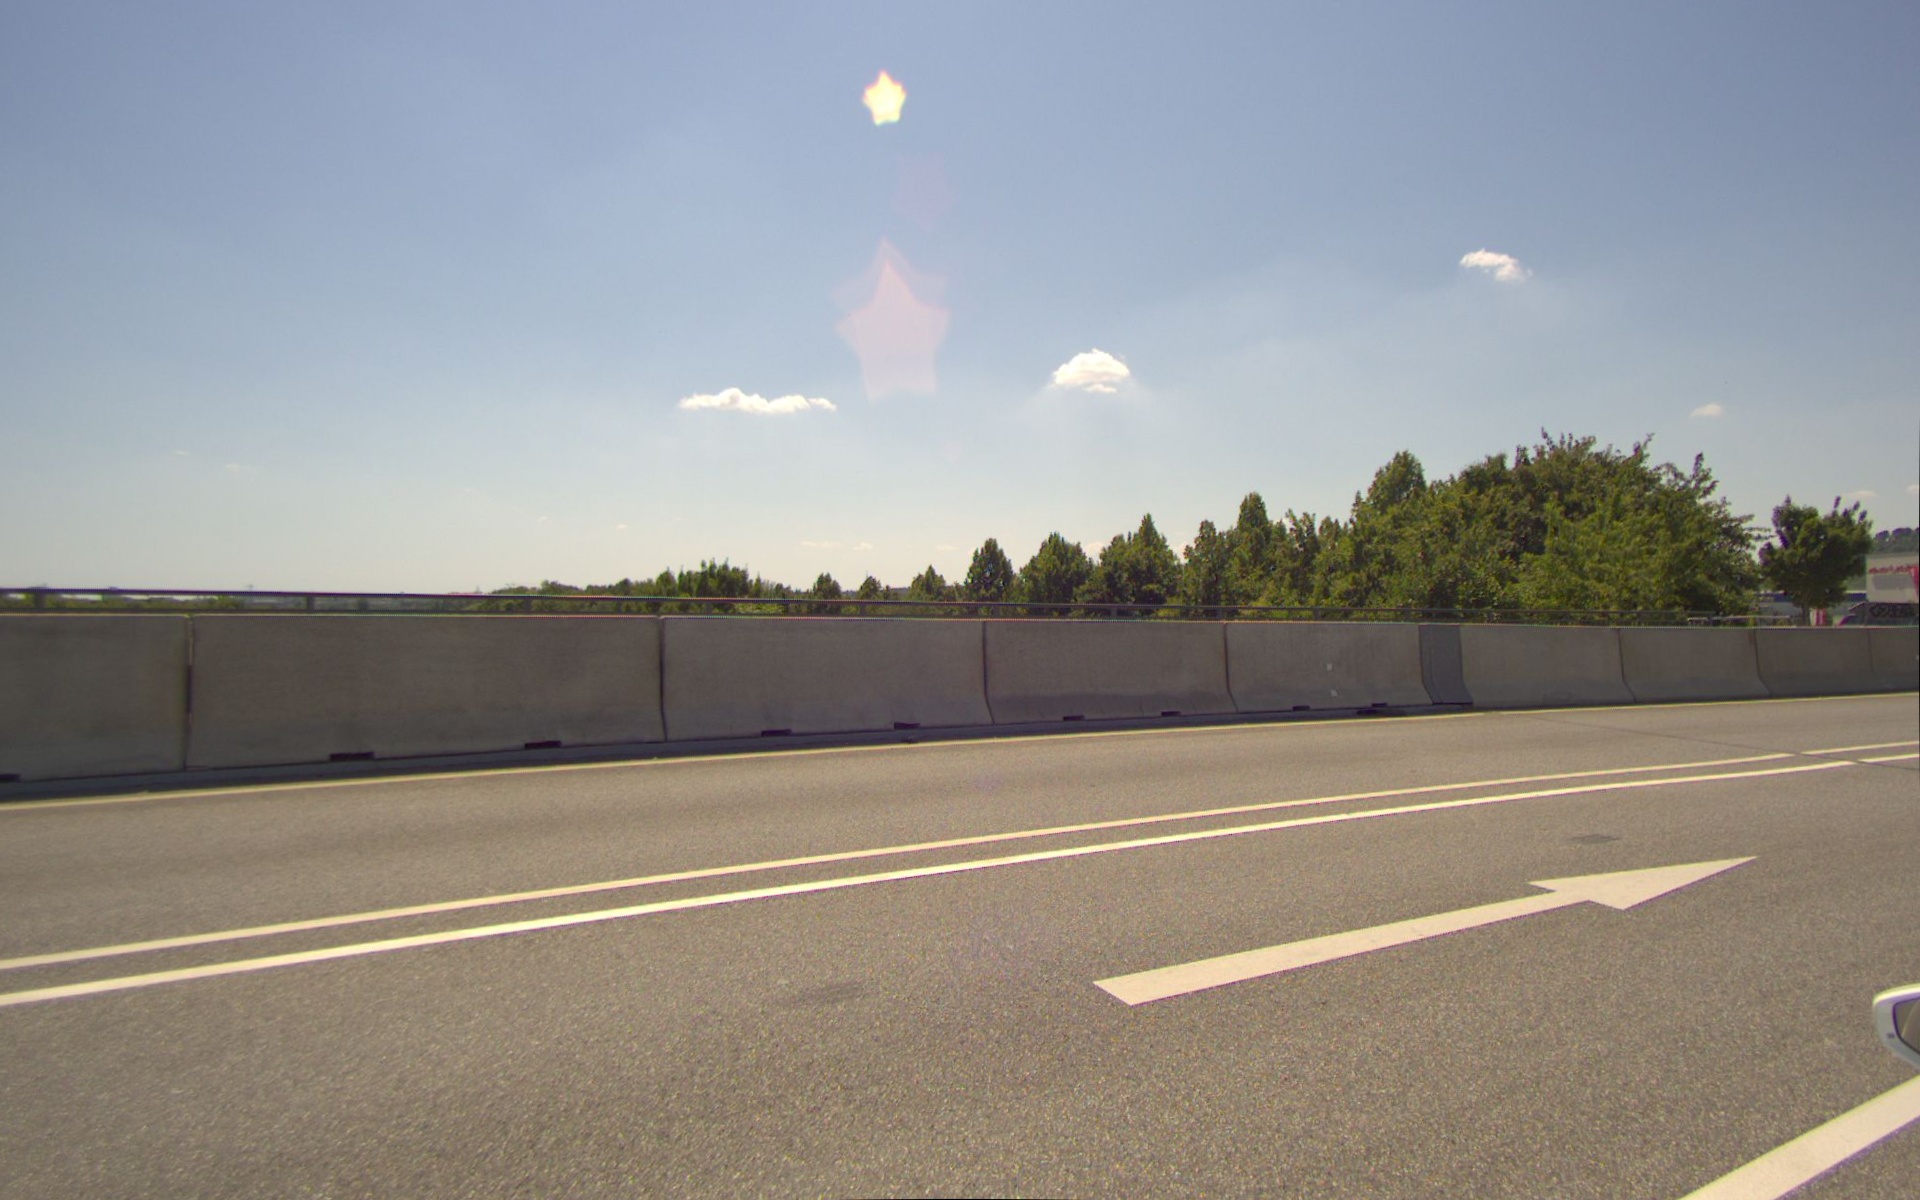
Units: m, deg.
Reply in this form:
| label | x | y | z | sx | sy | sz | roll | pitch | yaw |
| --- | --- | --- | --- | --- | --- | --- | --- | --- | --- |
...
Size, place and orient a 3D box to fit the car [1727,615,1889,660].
| label | x | y | z | sx | sy | sz | roll | pitch | yaw |
| --- | --- | --- | --- | --- | --- | --- | --- | --- | --- |
| car | 34.185 | 1.466 | 40.637 | 1.715 | 1.566 | 4.698 | 1 | 0 | -29 |
